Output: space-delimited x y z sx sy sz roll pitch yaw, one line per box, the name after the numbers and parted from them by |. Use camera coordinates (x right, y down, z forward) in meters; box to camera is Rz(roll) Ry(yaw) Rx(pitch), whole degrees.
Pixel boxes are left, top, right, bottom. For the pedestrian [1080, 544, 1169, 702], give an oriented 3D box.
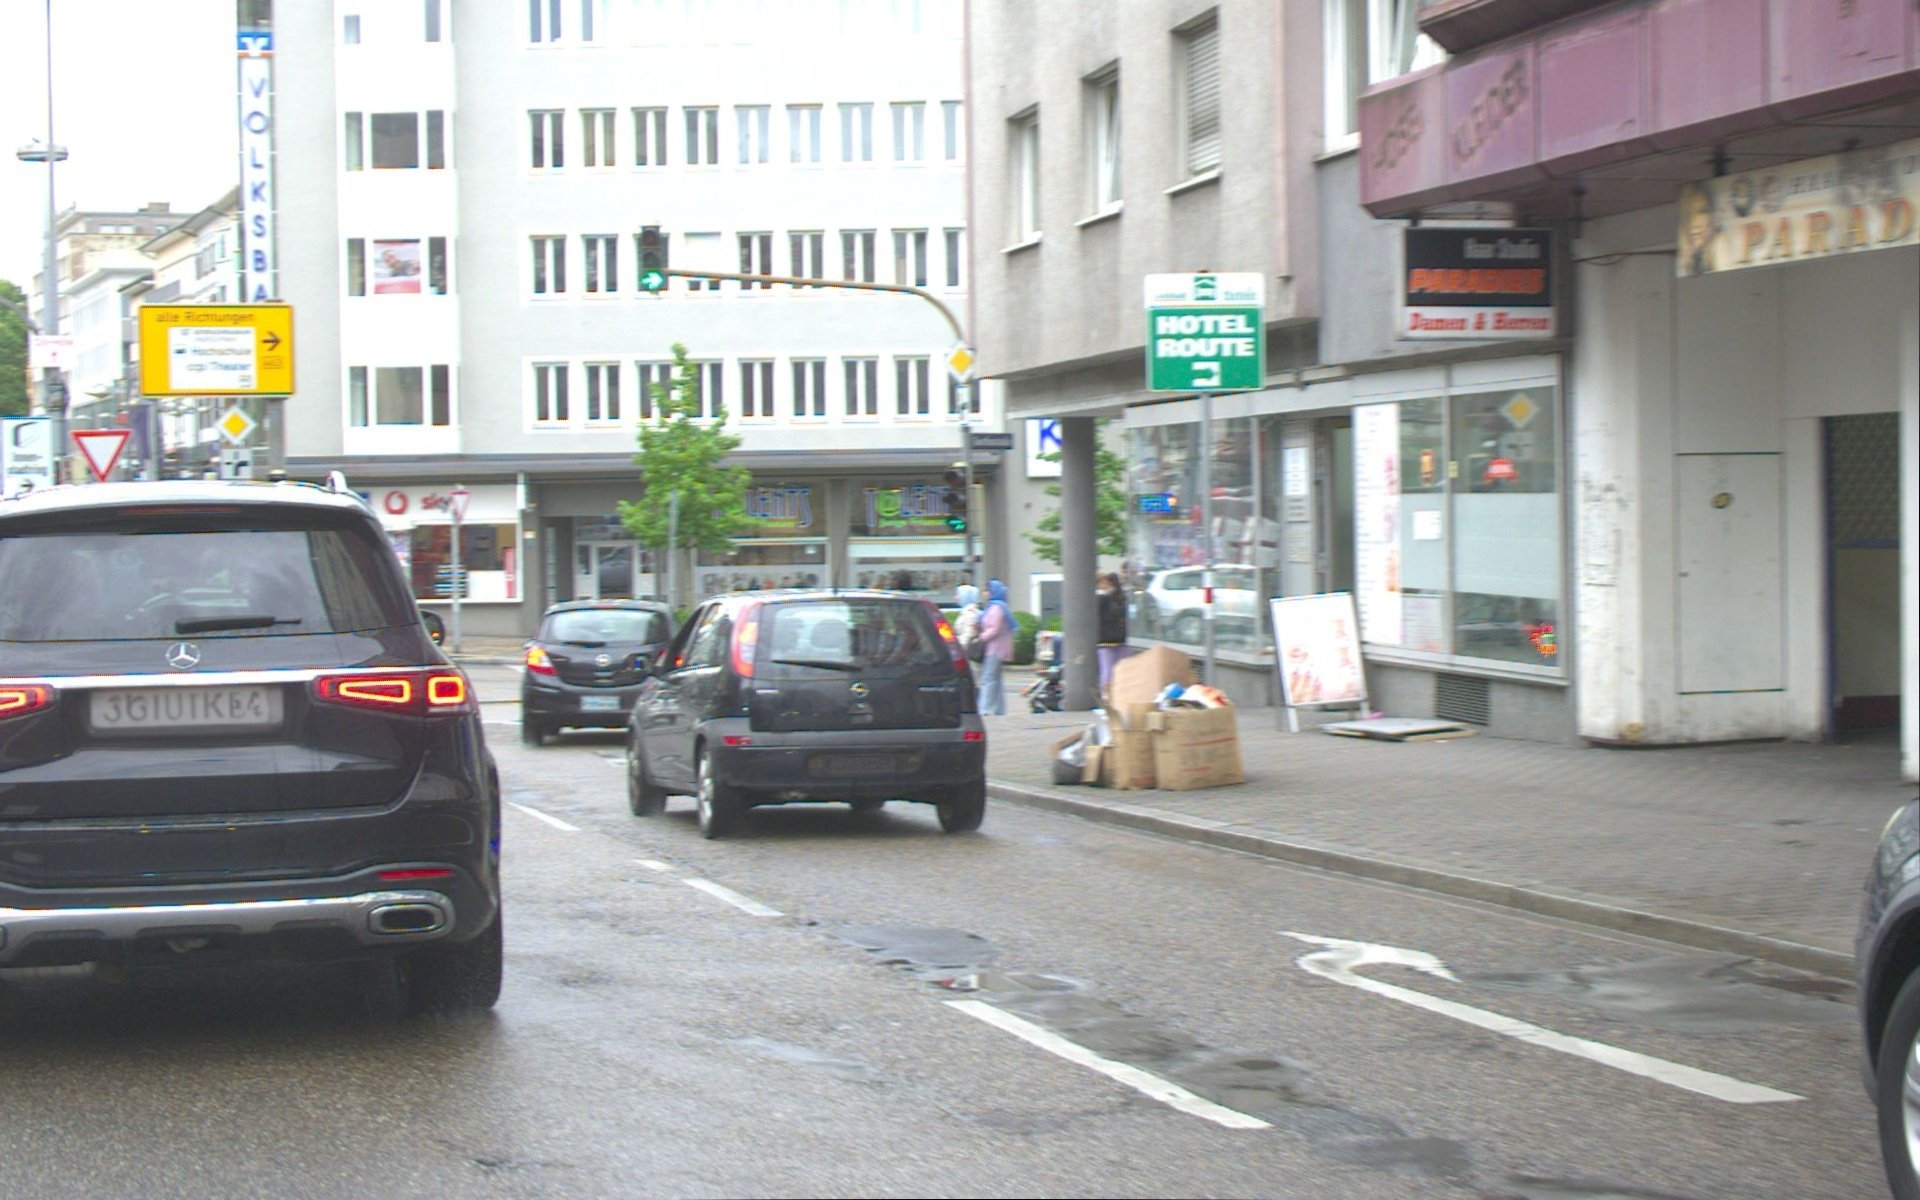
2.001 0.287 41.952 0.835 1.859 0.658 -3 -3 -10 | pedestrian

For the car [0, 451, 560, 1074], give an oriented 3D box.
-2.941 0.416 12.456 2.087 1.811 4.794 -1 1 -17 | car

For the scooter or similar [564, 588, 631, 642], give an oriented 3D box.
-8.029 0.334 76.156 1.380 1.183 0.544 -1 0 6 | scooter or similar

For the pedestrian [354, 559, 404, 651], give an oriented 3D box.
-11.294 0.092 66.784 0.829 1.772 0.618 1 0 -20 | pedestrian

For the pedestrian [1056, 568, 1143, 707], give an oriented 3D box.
1.770 0.472 43.646 1.035 1.717 0.838 -2 0 3 | pedestrian

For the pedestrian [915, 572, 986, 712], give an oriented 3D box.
-0.119 0.517 41.669 0.539 1.632 0.838 -4 -3 -14 | pedestrian

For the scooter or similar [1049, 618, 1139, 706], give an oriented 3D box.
1.597 0.748 41.093 0.770 0.983 1.048 -2 -3 -15 | scooter or similar

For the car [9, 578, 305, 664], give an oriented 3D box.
-14.068 0.360 60.381 4.739 1.441 1.791 0 1 6 | car

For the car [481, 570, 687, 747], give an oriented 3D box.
-3.882 0.554 35.380 1.949 1.568 4.001 1 2 -7 | car

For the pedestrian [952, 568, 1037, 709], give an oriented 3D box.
0.411 0.470 41.075 0.744 1.630 0.595 -4 -3 28 | pedestrian

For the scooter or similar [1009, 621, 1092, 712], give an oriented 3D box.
1.155 0.846 43.706 0.970 1.105 0.655 -2 0 5 | scooter or similar

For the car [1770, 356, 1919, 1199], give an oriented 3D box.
3.222 0.444 5.549 1.906 1.779 4.303 0 1 -15 | car

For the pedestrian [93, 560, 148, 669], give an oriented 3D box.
-13.102 0.232 53.655 0.756 1.686 0.693 1 -1 -9 | pedestrian

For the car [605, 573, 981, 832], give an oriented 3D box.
-1.104 0.578 20.816 1.716 1.415 3.771 1 -1 -11 | car

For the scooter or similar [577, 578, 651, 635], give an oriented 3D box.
-7.852 0.146 78.011 1.497 1.252 0.930 1 -2 6 | scooter or similar

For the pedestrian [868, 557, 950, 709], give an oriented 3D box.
-0.573 0.376 38.864 0.626 1.686 0.781 -3 -1 21 | pedestrian

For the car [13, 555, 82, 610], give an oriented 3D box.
-26.190 -0.523 98.731 1.736 1.522 4.001 1 0 -13 | car

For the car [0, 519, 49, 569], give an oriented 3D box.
-35.532 -2.102 129.184 2.422 1.774 5.156 1 0 -14 | car

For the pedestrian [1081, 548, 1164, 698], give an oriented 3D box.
1.900 0.275 40.293 0.835 1.717 0.617 -2 -2 -6 | pedestrian

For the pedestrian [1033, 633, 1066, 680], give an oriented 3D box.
1.138 0.721 43.735 0.371 0.569 0.458 -2 0 5 | pedestrian

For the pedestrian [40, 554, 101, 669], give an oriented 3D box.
-13.360 0.177 51.652 0.783 1.705 0.707 1 -1 -9 | pedestrian
